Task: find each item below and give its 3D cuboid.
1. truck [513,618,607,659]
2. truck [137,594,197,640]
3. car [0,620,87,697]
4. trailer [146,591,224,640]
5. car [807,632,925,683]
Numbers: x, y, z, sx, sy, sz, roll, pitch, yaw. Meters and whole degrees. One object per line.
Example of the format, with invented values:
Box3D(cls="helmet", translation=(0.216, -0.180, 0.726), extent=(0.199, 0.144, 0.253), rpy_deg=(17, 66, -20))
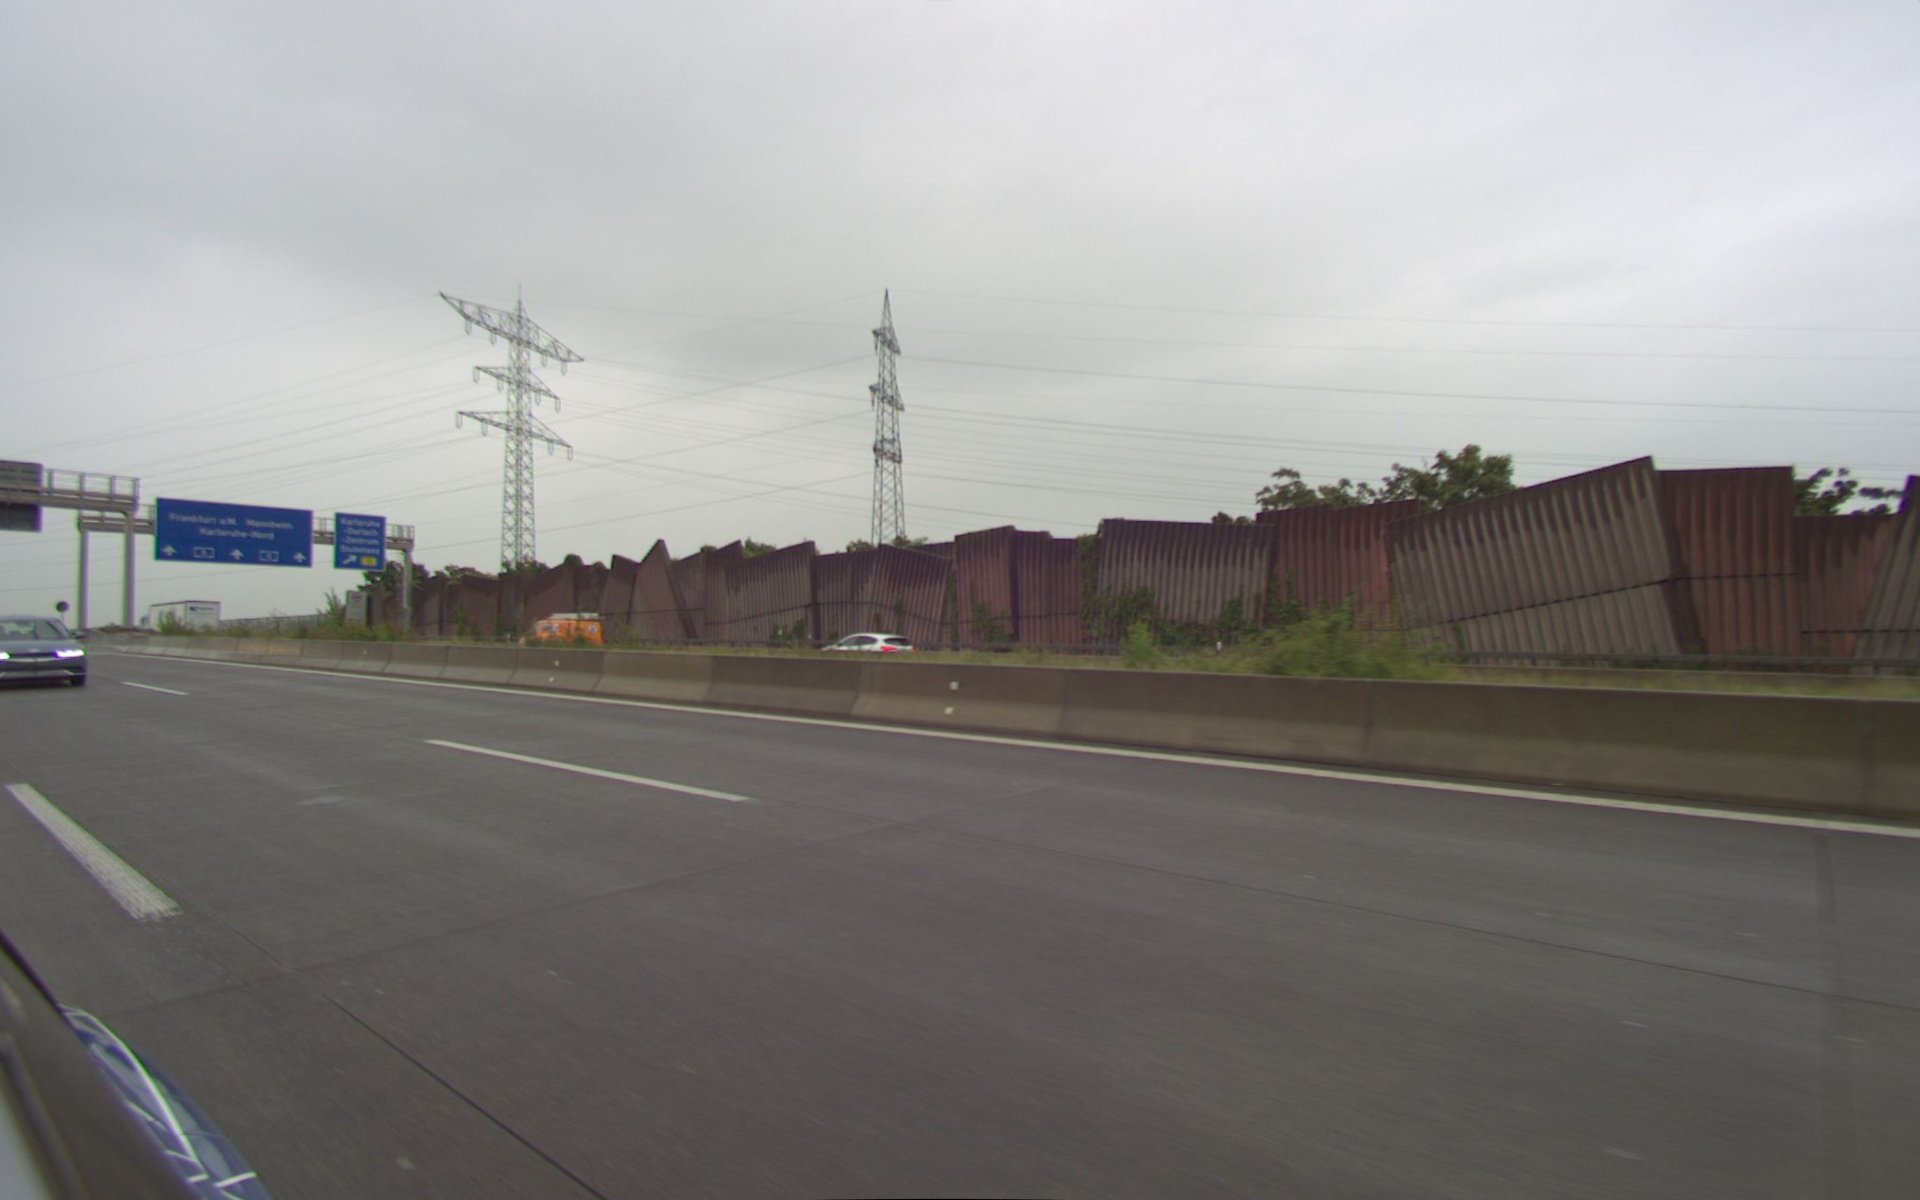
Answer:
Box3D(cls="truck", translation=(-18.242, 1.713, 46.015), extent=(5.015, 1.753, 1.972), rpy_deg=(-2, -2, 42))
Box3D(cls="truck", translation=(-76.522, 1.637, 97.596), extent=(7.883, 4.218, 3.025), rpy_deg=(-2, -1, 41))
Box3D(cls="car", translation=(-21.812, 1.294, 23.334), extent=(5.152, 1.606, 1.820), rpy_deg=(-1, -1, 41))
Box3D(cls="trailer", translation=(-71.536, 1.514, 93.267), extent=(13.562, 4.218, 3.025), rpy_deg=(-2, -1, 41))
Box3D(cls="car", translation=(-3.594, 2.118, 38.218), extent=(4.396, 1.753, 1.972), rpy_deg=(-2, -2, 42))
